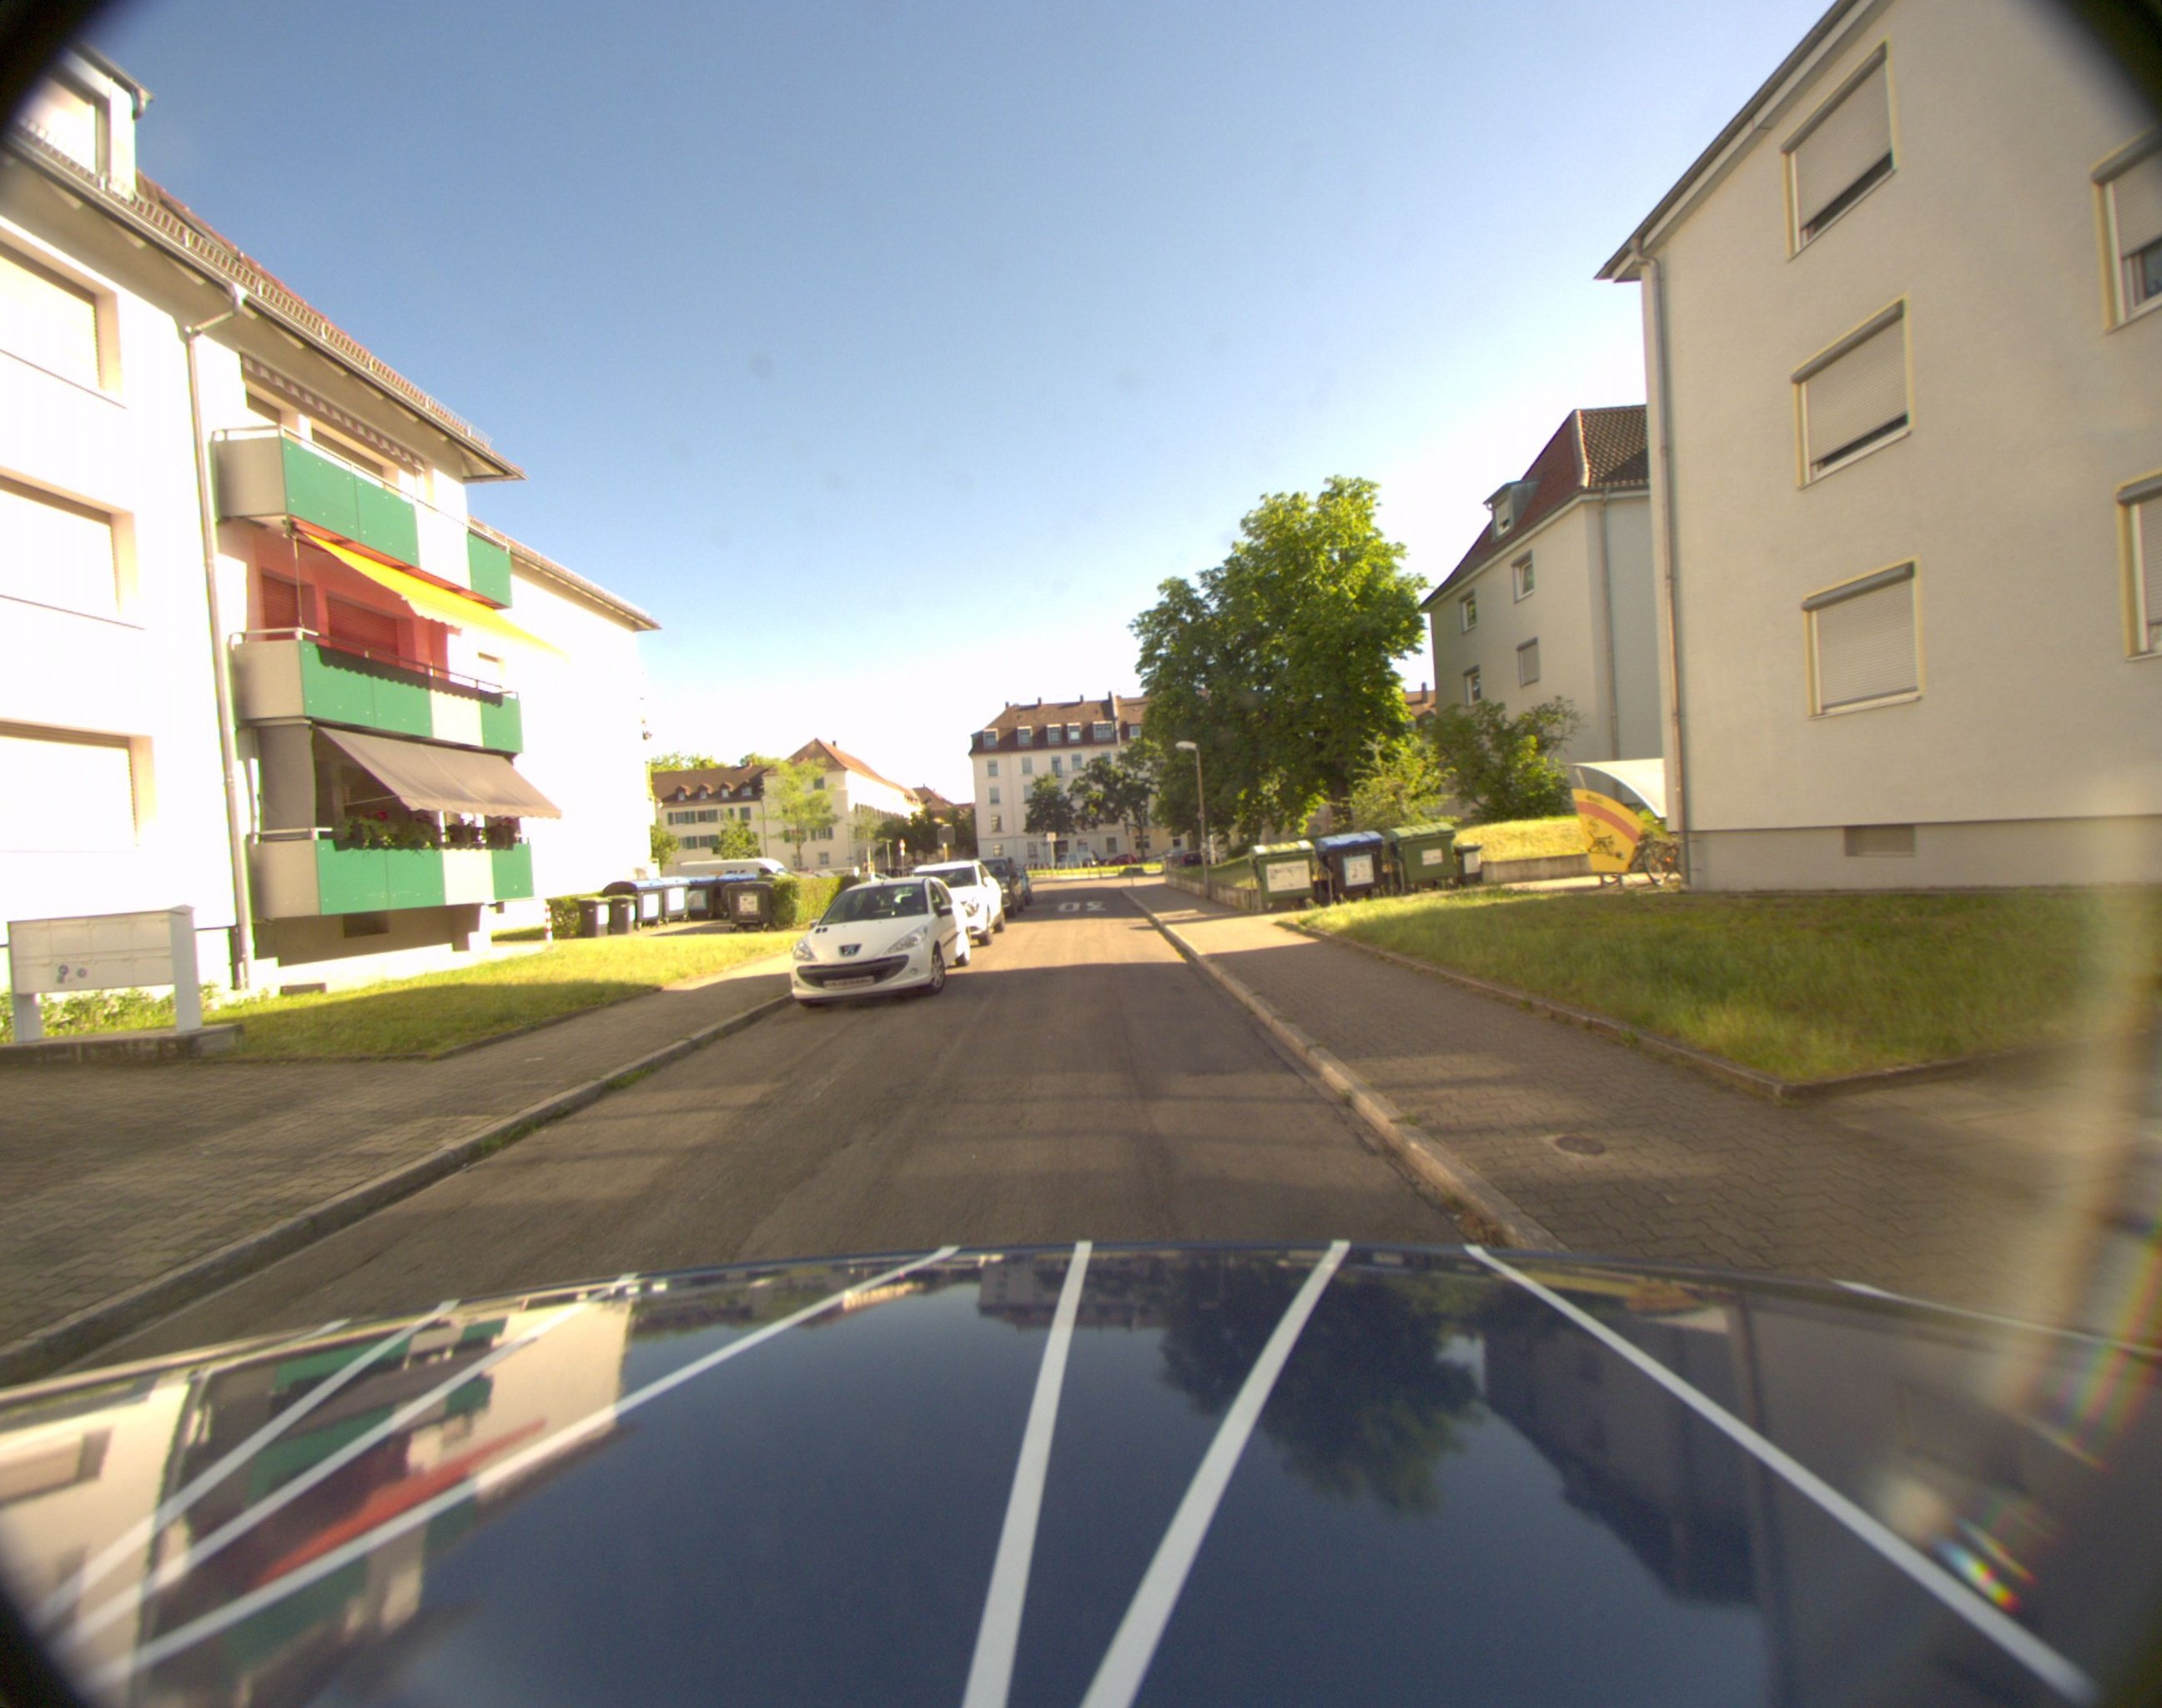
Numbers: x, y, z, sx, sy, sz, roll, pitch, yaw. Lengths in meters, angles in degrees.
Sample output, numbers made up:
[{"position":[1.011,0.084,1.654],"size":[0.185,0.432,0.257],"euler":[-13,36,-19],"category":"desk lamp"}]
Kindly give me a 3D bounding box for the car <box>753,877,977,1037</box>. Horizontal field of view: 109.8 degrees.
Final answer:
[{"position":[-2.567,1.153,10.102],"size":[1.695,1.410,4.097],"euler":[-6,0,0],"category":"car"}]

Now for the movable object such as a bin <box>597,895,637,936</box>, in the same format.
[{"position":[-12.601,1.660,20.634],"size":[0.718,1.047,0.580],"euler":[0,0,-2],"category":"movable object such as a bin"}]

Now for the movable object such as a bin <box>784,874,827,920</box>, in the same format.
[{"position":[-8.308,1.280,22.911],"size":[0.921,1.318,0.866],"euler":[-3,0,-1],"category":"movable object such as a bin"}]

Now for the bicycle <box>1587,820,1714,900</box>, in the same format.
[{"position":[9.797,0.090,13.189],"size":[0.641,1.243,2.009],"euler":[-4,0,1],"category":"bicycle"}]

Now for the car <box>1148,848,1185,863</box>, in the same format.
[{"position":[9.190,0.121,81.919],"size":[3.787,1.437,1.625],"euler":[-3,0,2],"category":"car"}]

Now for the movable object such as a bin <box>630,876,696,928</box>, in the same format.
[{"position":[-12.729,1.449,23.187],"size":[1.239,1.439,1.278],"euler":[-3,0,-2],"category":"movable object such as a bin"}]

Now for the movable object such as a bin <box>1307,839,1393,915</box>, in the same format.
[{"position":[5.889,0.481,16.736],"size":[1.358,1.451,1.082],"euler":[-8,1,1],"category":"movable object such as a bin"}]

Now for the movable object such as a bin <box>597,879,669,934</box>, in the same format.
[{"position":[-12.816,1.489,21.779],"size":[1.239,1.439,1.278],"euler":[-3,0,-2],"category":"movable object such as a bin"}]

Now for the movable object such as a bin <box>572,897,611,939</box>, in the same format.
[{"position":[-12.828,1.672,19.921],"size":[0.628,1.047,0.580],"euler":[0,0,-2],"category":"movable object such as a bin"}]

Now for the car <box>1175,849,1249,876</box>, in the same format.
[{"position":[7.995,0.518,46.619],"size":[4.140,1.488,1.729],"euler":[-3,0,0],"category":"car"}]

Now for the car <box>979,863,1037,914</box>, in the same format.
[{"position":[-2.634,1.206,28.200],"size":[1.728,1.528,3.951],"euler":[-6,0,-1],"category":"car"}]

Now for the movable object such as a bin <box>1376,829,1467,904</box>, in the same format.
[{"position":[7.468,0.263,16.746],"size":[1.363,1.445,1.073],"euler":[-8,1,1],"category":"movable object such as a bin"}]

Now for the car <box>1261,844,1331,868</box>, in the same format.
[{"position":[13.187,0.130,46.738],"size":[3.863,1.265,1.630],"euler":[-3,0,0],"category":"car"}]

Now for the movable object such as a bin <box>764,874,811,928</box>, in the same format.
[{"position":[-8.356,1.325,21.668],"size":[0.921,1.439,0.866],"euler":[-3,0,-1],"category":"movable object such as a bin"}]

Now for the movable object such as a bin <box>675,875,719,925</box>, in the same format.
[{"position":[-12.281,1.451,24.340],"size":[0.866,1.511,0.922],"euler":[-3,1,-1],"category":"movable object such as a bin"}]

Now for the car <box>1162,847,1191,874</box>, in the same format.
[{"position":[6.250,0.432,49.791],"size":[1.678,1.645,3.305],"euler":[-3,0,4],"category":"car"}]

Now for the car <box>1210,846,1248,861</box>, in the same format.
[{"position":[15.980,-0.098,81.952],"size":[3.787,1.437,1.625],"euler":[-3,0,2],"category":"car"}]

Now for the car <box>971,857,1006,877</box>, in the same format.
[{"position":[-7.237,1.018,59.248],"size":[1.674,1.432,3.794],"euler":[-3,0,-22],"category":"car"}]

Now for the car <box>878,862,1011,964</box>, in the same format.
[{"position":[-2.592,1.056,15.561],"size":[1.805,1.583,4.581],"euler":[-5,0,0],"category":"car"}]

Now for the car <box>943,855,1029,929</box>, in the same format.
[{"position":[-2.697,1.024,22.577],"size":[1.855,1.790,4.253],"euler":[-7,0,0],"category":"car"}]

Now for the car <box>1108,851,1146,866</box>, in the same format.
[{"position":[4.899,0.486,81.985],"size":[3.996,1.477,1.722],"euler":[-3,0,2],"category":"car"}]

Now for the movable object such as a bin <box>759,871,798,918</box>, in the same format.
[{"position":[-9.684,1.288,24.347],"size":[0.866,1.439,0.922],"euler":[-3,1,-3],"category":"movable object such as a bin"}]

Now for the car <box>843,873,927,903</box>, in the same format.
[{"position":[-10.491,1.814,40.854],"size":[3.996,1.341,1.802],"euler":[-2,0,2],"category":"car"}]

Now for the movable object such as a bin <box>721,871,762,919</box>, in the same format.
[{"position":[-10.796,1.297,24.204],"size":[0.866,1.439,0.922],"euler":[-3,1,-4],"category":"movable object such as a bin"}]

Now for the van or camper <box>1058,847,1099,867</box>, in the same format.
[{"position":[-0.277,0.316,82.350],"size":[4.355,1.852,2.000],"euler":[-3,0,-1],"category":"van or camper"}]

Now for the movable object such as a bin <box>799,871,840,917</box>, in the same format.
[{"position":[-8.295,1.251,24.137],"size":[0.921,1.390,0.866],"euler":[-3,0,-1],"category":"movable object such as a bin"}]

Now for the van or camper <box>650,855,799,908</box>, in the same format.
[{"position":[-19.317,1.458,41.360],"size":[6.980,2.485,2.177],"euler":[-3,0,2],"category":"van or camper"}]

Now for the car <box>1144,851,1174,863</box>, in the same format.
[{"position":[8.992,0.330,87.578],"size":[3.192,1.311,1.545],"euler":[-3,0,0],"category":"car"}]

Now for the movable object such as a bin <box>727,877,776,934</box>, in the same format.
[{"position":[-8.761,1.356,20.261],"size":[0.866,1.439,0.922],"euler":[-3,0,-4],"category":"movable object such as a bin"}]

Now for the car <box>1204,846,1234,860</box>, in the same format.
[{"position":[15.882,-0.133,87.674],"size":[3.192,1.499,1.545],"euler":[-3,0,0],"category":"car"}]

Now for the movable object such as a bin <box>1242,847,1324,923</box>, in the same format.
[{"position":[4.404,0.654,16.680],"size":[1.318,1.451,1.198],"euler":[-7,1,1],"category":"movable object such as a bin"}]
